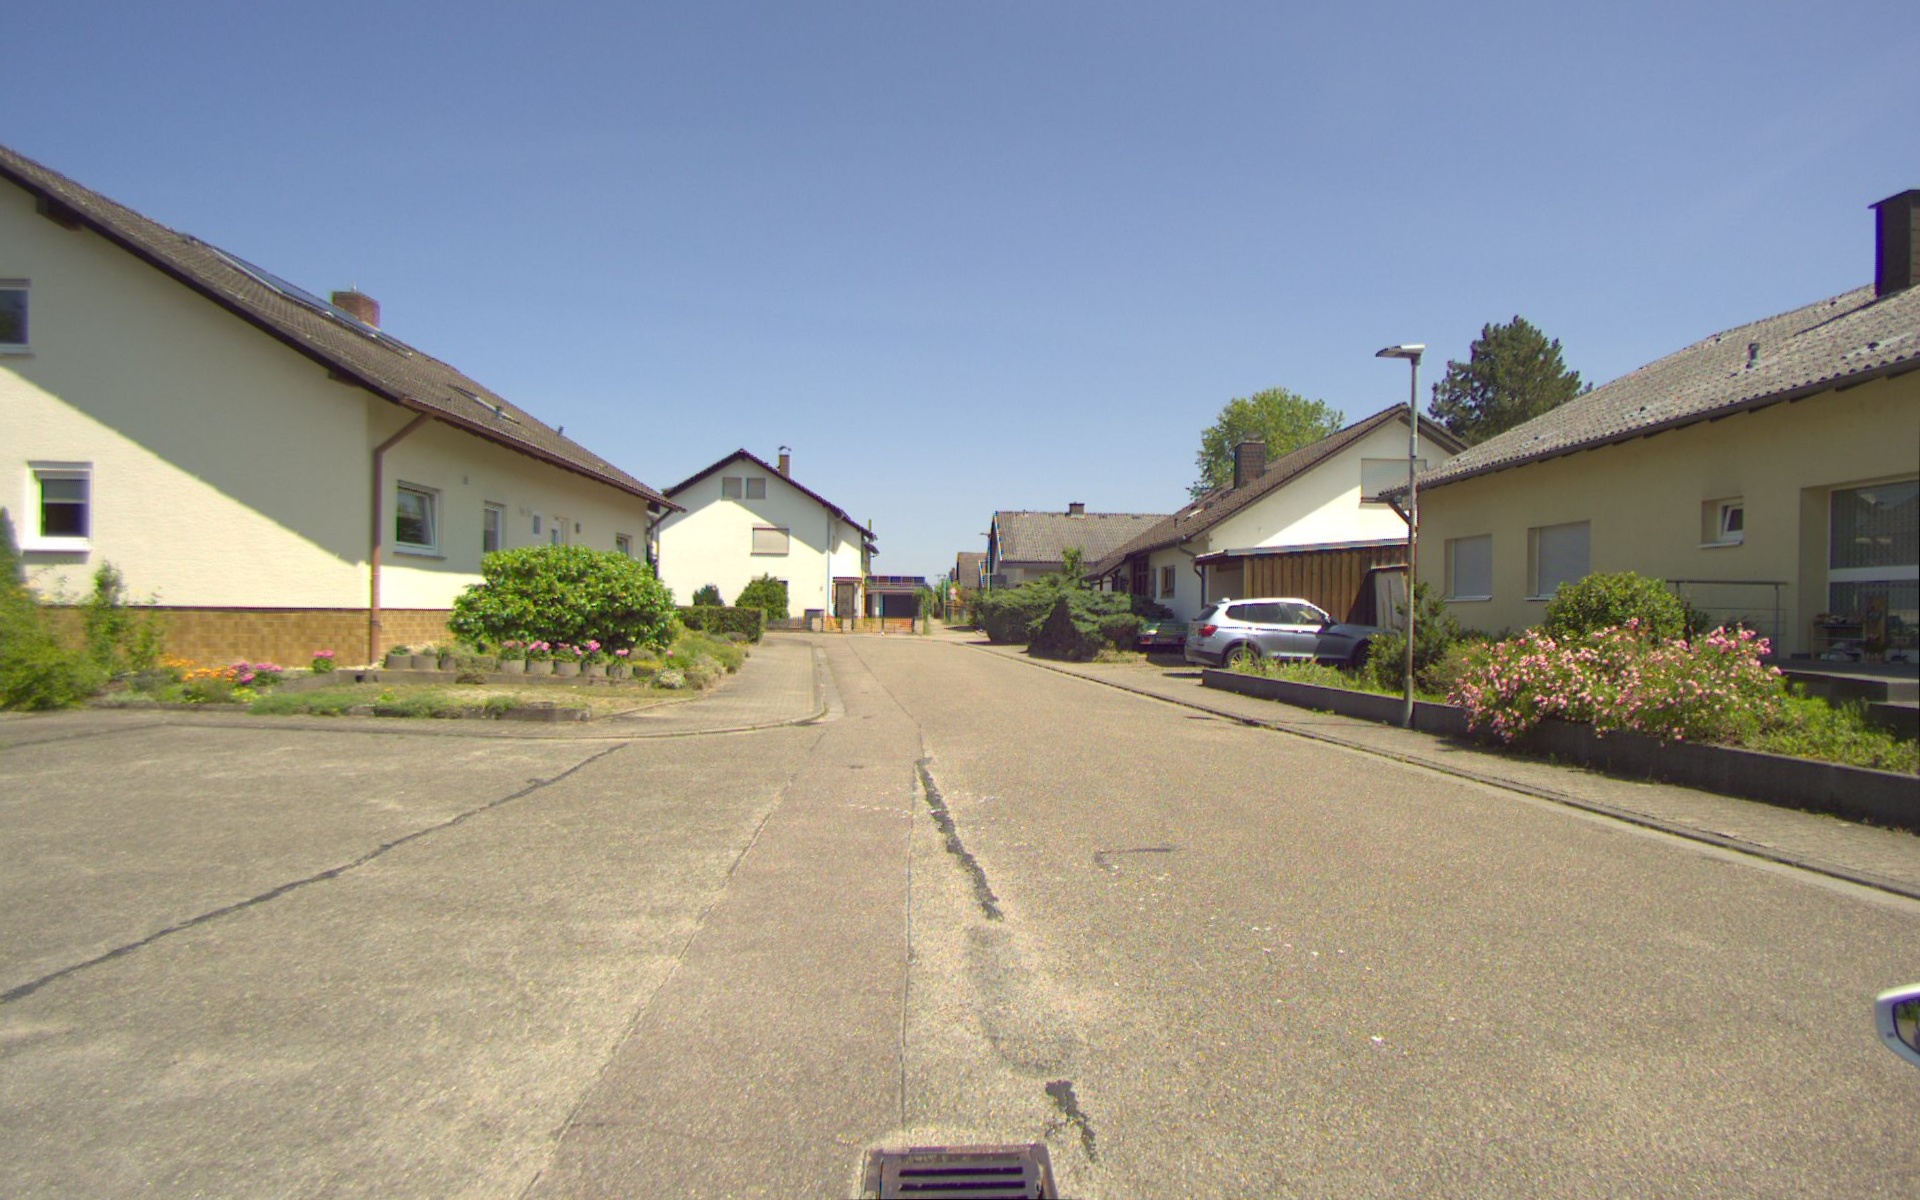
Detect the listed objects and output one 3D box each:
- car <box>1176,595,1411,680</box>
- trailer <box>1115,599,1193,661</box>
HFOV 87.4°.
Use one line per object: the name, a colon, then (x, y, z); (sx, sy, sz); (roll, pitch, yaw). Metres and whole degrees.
car: (7.179, 0.799, 21.937); (4.550, 1.725, 1.710); (-1, 0, 1)
trailer: (5.641, 0.819, 29.496); (1.561, 1.694, 3.295); (-1, 0, -2)
